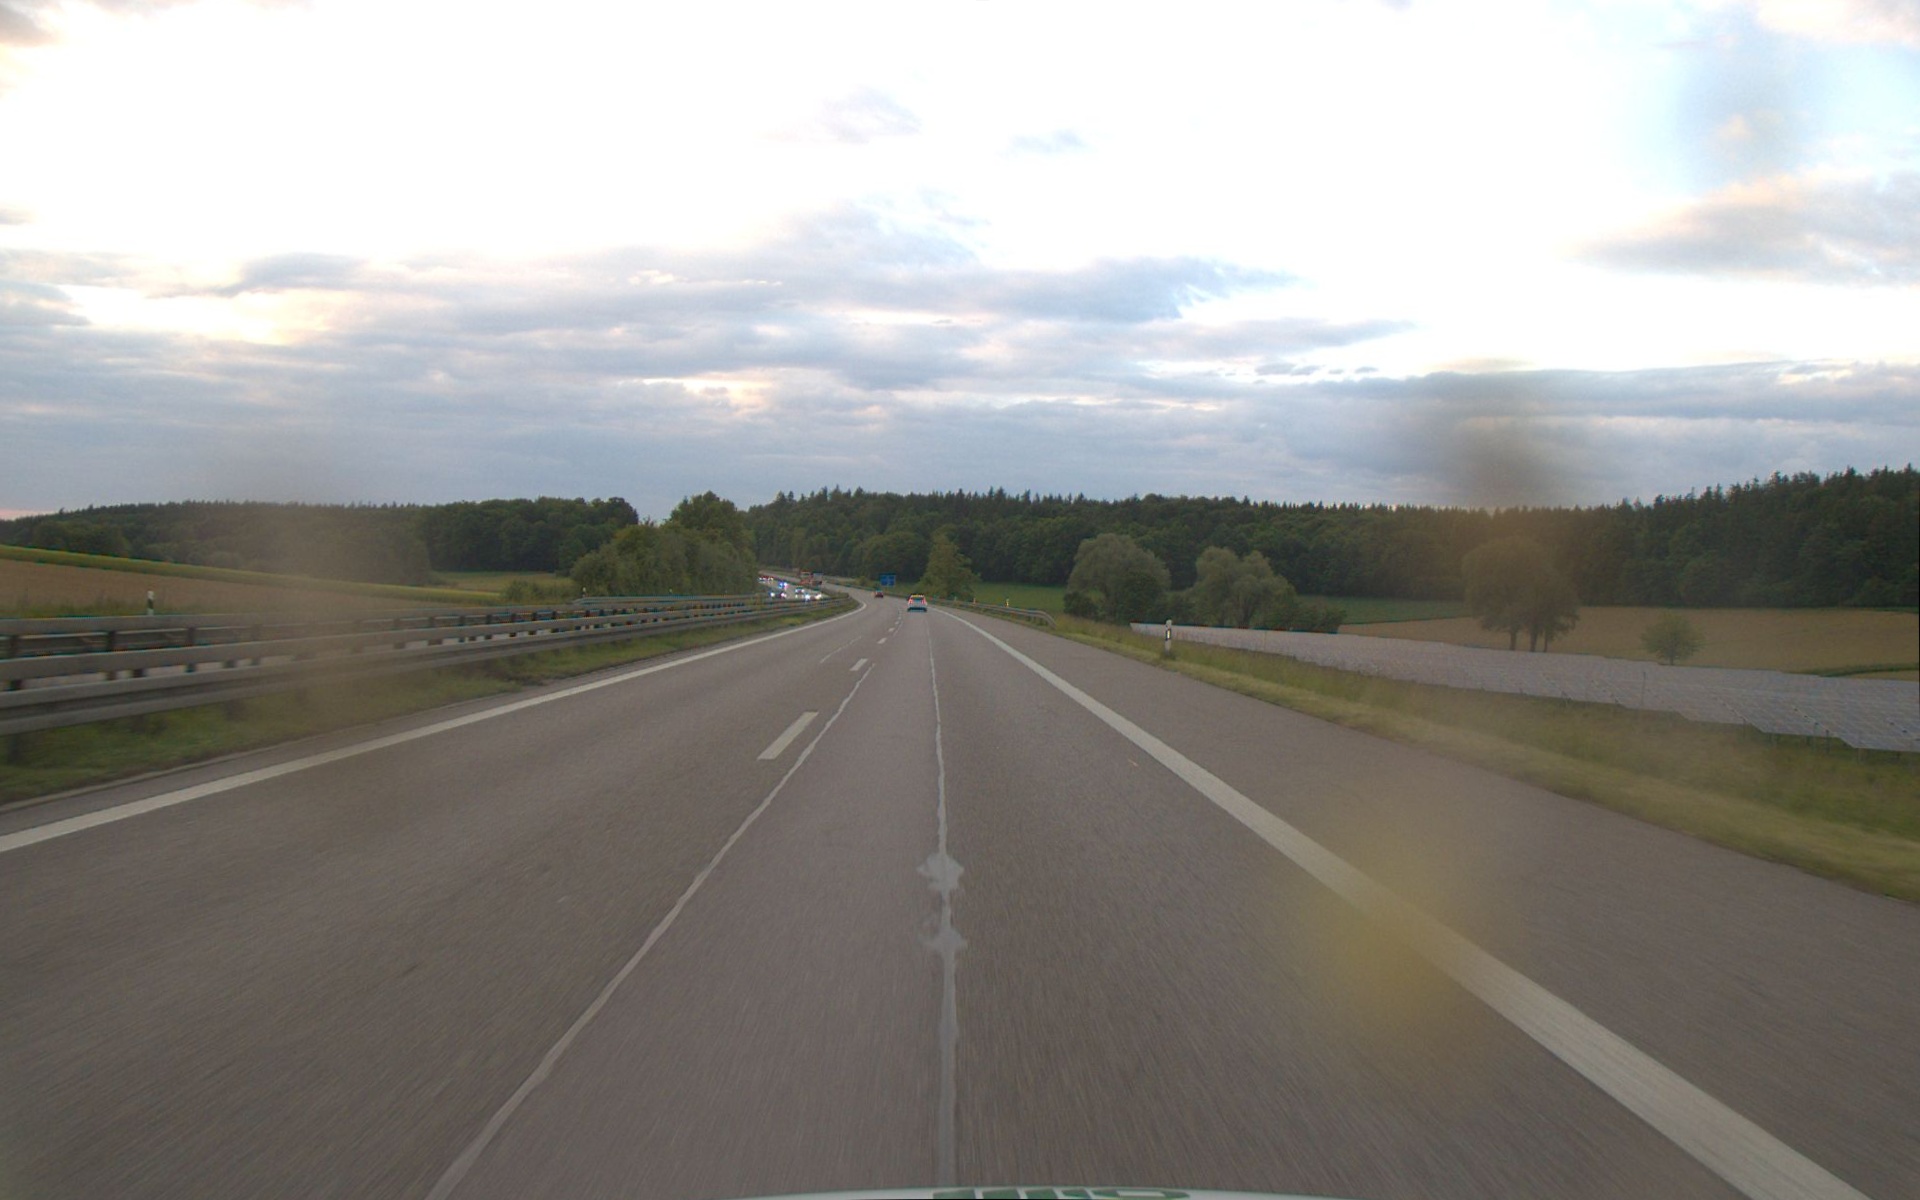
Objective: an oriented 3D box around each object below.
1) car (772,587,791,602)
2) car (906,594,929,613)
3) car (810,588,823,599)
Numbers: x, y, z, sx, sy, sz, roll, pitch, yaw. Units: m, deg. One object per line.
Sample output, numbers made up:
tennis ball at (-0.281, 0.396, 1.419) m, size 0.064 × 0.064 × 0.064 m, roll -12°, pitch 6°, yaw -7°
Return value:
car at (-23.369, -0.677, 216.532) m, size 1.848 × 1.723 × 5.767 m, roll 4°, pitch -1°, yaw -1°
car at (-3.927, 0.288, 151.414) m, size 1.913 × 1.558 × 4.078 m, roll 4°, pitch 0°, yaw -3°
car at (-20.538, -0.947, 236.482) m, size 1.535 × 1.389 × 4.619 m, roll 4°, pitch 0°, yaw -1°
